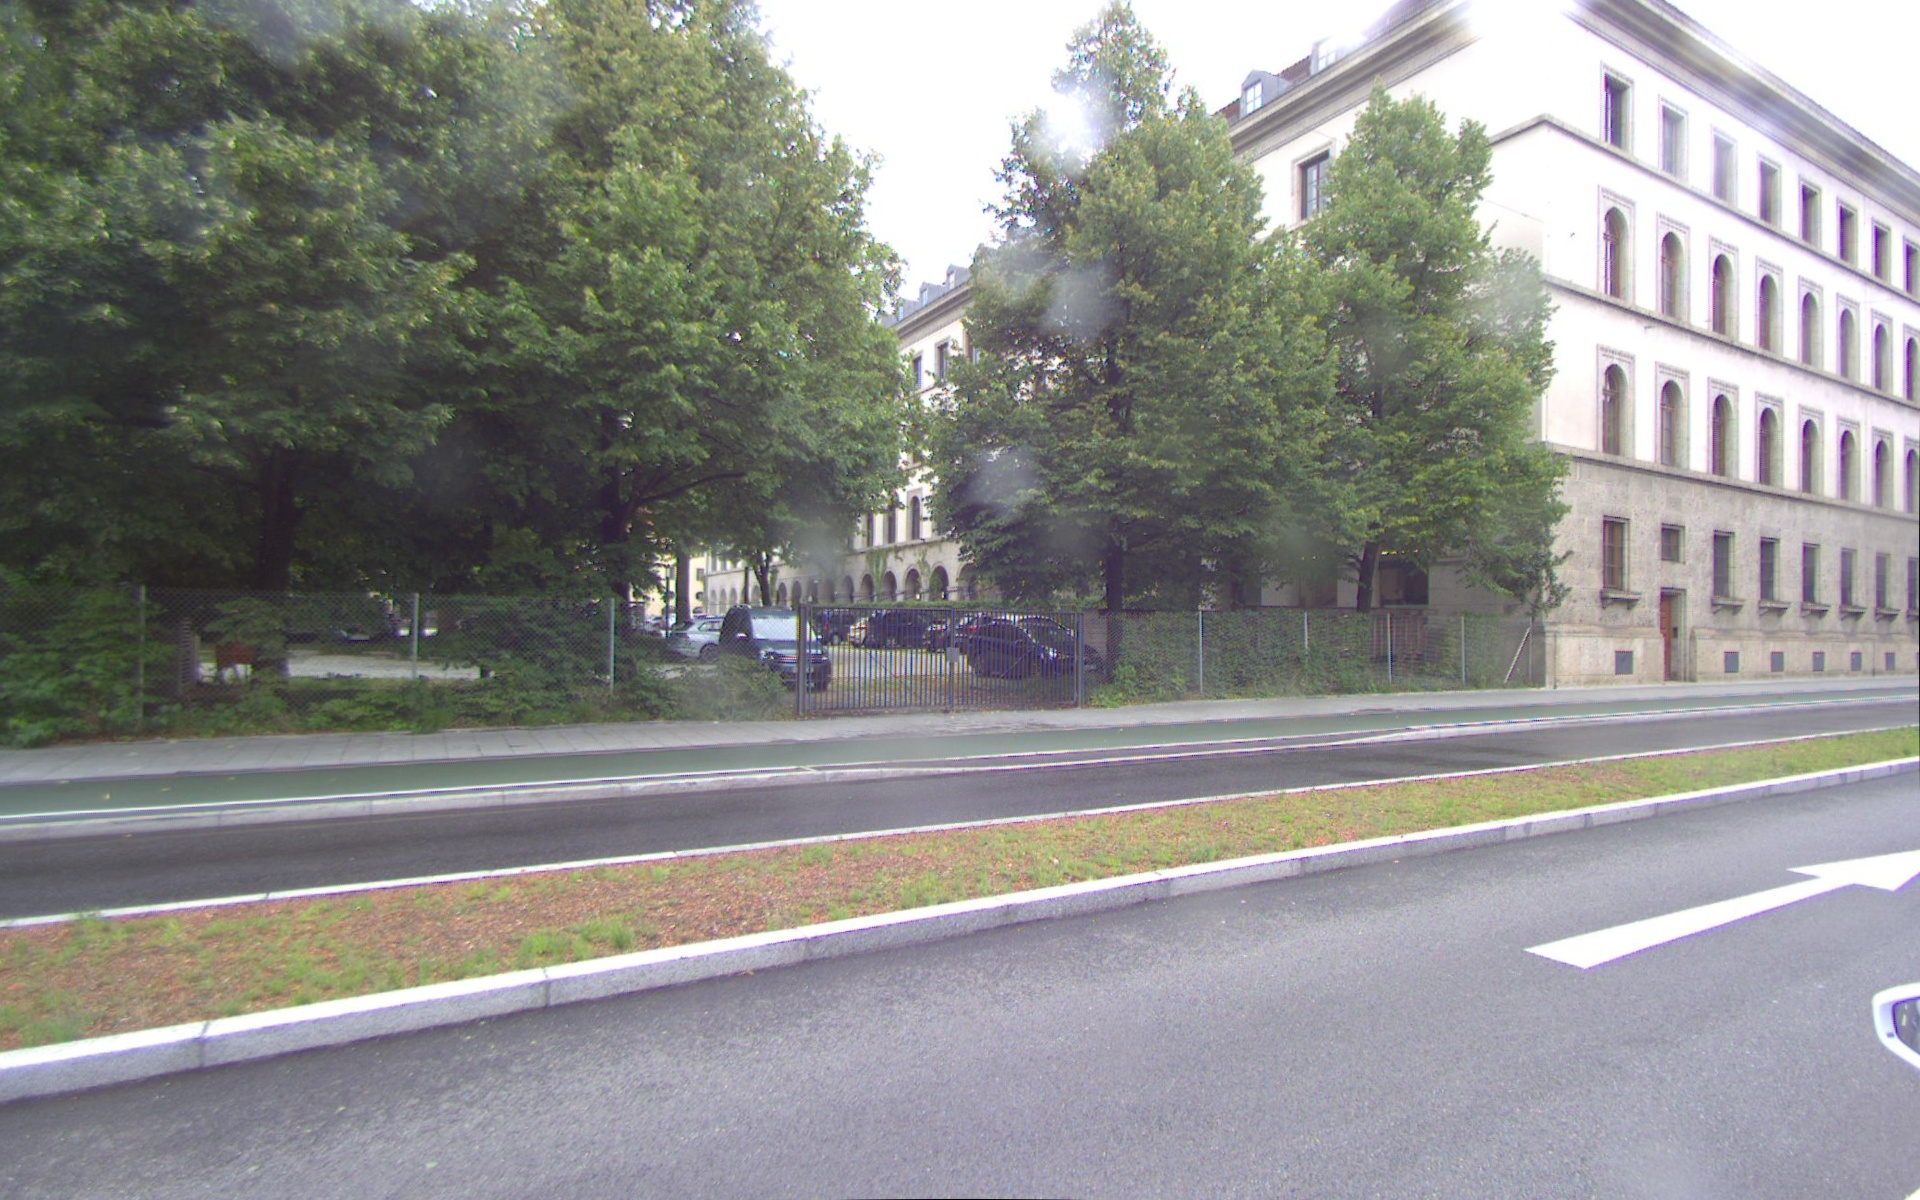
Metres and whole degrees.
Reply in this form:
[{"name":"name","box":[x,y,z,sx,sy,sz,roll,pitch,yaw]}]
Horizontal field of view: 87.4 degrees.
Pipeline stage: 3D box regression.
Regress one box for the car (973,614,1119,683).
[{"name":"car","box":[2.182,1.227,26.594,1.783,1.671,4.243,1,-2,-30]}]

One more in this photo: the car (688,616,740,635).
[{"name":"car","box":[-21.043,2.201,85.918,3.954,1.564,1.761,2,-1,-31]}]

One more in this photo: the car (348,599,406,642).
[{"name":"car","box":[-24.870,0.870,42.769,1.978,1.742,3.965,1,-1,-32]}]

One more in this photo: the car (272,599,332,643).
[{"name":"car","box":[-27.514,0.899,42.099,1.978,1.742,3.965,1,-1,-32]}]

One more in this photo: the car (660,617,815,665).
[{"name":"car","box":[-7.274,1.318,32.902,4.579,1.460,1.984,2,-1,-31]}]

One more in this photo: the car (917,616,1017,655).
[{"name":"car","box":[0.326,1.514,42.969,3.954,1.564,1.761,2,-1,-31]}]

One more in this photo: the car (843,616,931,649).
[{"name":"car","box":[-3.570,1.600,49.330,3.954,1.564,1.761,2,-1,-31]}]

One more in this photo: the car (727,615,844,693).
[{"name":"car","box":[-4.127,1.191,23.235,1.779,1.609,4.137,1,-2,-23]}]

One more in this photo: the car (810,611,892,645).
[{"name":"car","box":[-5.820,1.485,53.749,3.954,1.755,1.761,2,-1,-31]}]

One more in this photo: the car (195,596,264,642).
[{"name":"car","box":[-29.313,0.781,40.421,1.979,1.742,3.964,1,-2,-33]}]

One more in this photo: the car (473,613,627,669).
[{"name":"car","box":[-12.113,1.191,29.736,3.956,1.564,1.761,2,-1,-32]}]

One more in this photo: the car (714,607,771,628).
[{"name":"car","box":[-16.762,1.390,77.510,3.954,1.564,1.761,2,-1,-31]}]

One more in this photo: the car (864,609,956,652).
[{"name":"car","box":[-2.350,1.447,47.260,3.949,1.954,1.838,1,-1,-27]}]

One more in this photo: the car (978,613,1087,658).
[{"name":"car","box":[2.802,1.359,38.677,3.954,1.661,1.657,2,-1,-31]}]

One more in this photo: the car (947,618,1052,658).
[{"name":"car","box":[1.621,1.525,40.871,3.954,1.564,1.761,2,-1,-31]}]
